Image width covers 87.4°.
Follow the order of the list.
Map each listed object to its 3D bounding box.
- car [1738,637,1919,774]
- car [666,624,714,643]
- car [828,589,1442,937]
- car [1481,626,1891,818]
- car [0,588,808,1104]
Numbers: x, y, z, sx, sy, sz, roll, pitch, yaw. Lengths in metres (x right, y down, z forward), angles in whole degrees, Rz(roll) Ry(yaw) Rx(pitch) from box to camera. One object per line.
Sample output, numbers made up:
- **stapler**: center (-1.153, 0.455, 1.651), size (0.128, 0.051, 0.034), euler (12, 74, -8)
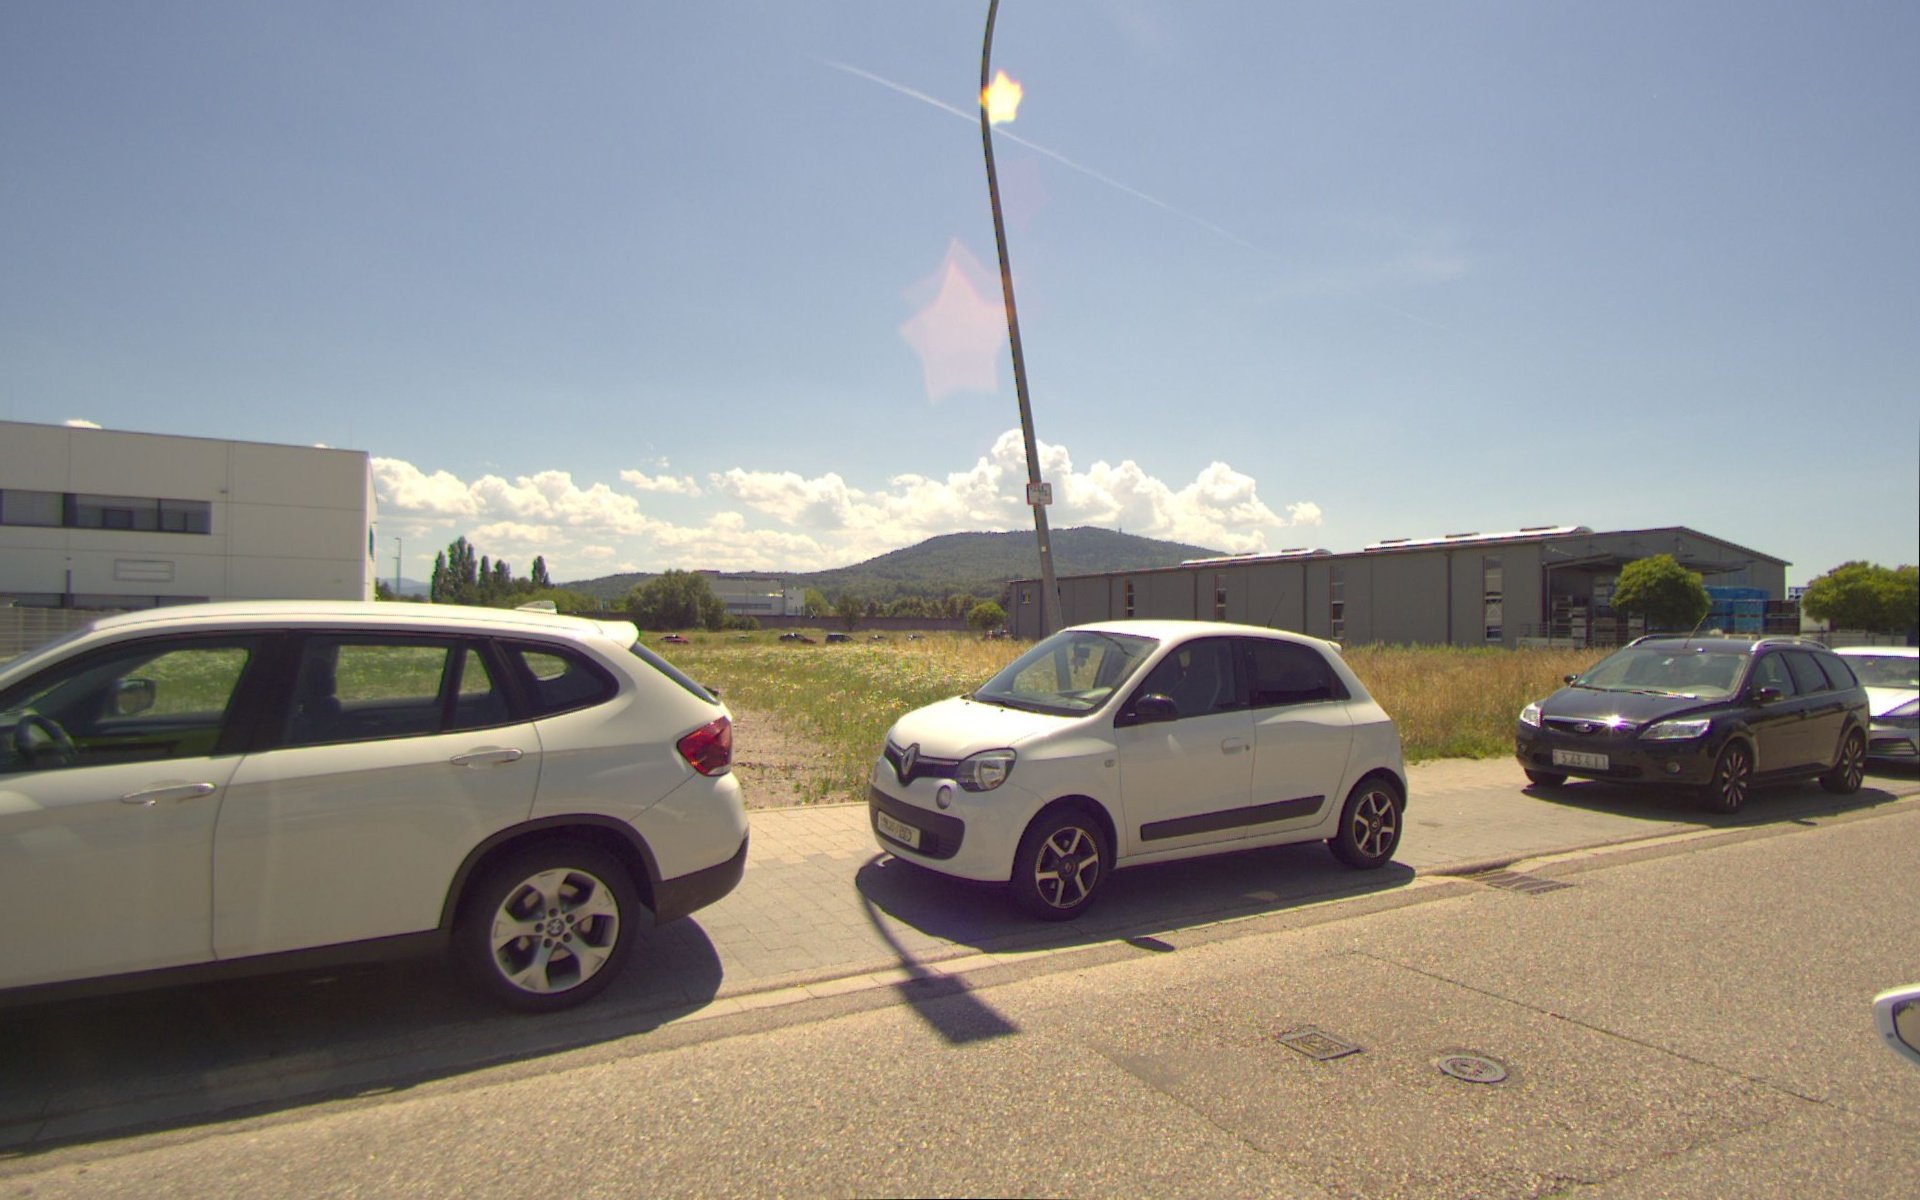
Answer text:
- **car**: center (11.987, 1.252, 12.999), size (4.155, 1.470, 1.753), euler (2, -1, -33)
- **car**: center (-30.326, 3.736, 112.695), size (4.863, 2.040, 1.984), euler (2, -2, -30)
- **car**: center (1.209, 0.839, 6.587), size (3.725, 1.678, 1.778), euler (2, -1, -31)
- **car**: center (7.367, 1.073, 10.094), size (4.329, 1.537, 1.754), euler (2, -1, -30)
- **car**: center (-2.962, 0.765, 4.029), size (4.310, 1.563, 1.780), euler (2, -1, -28)
